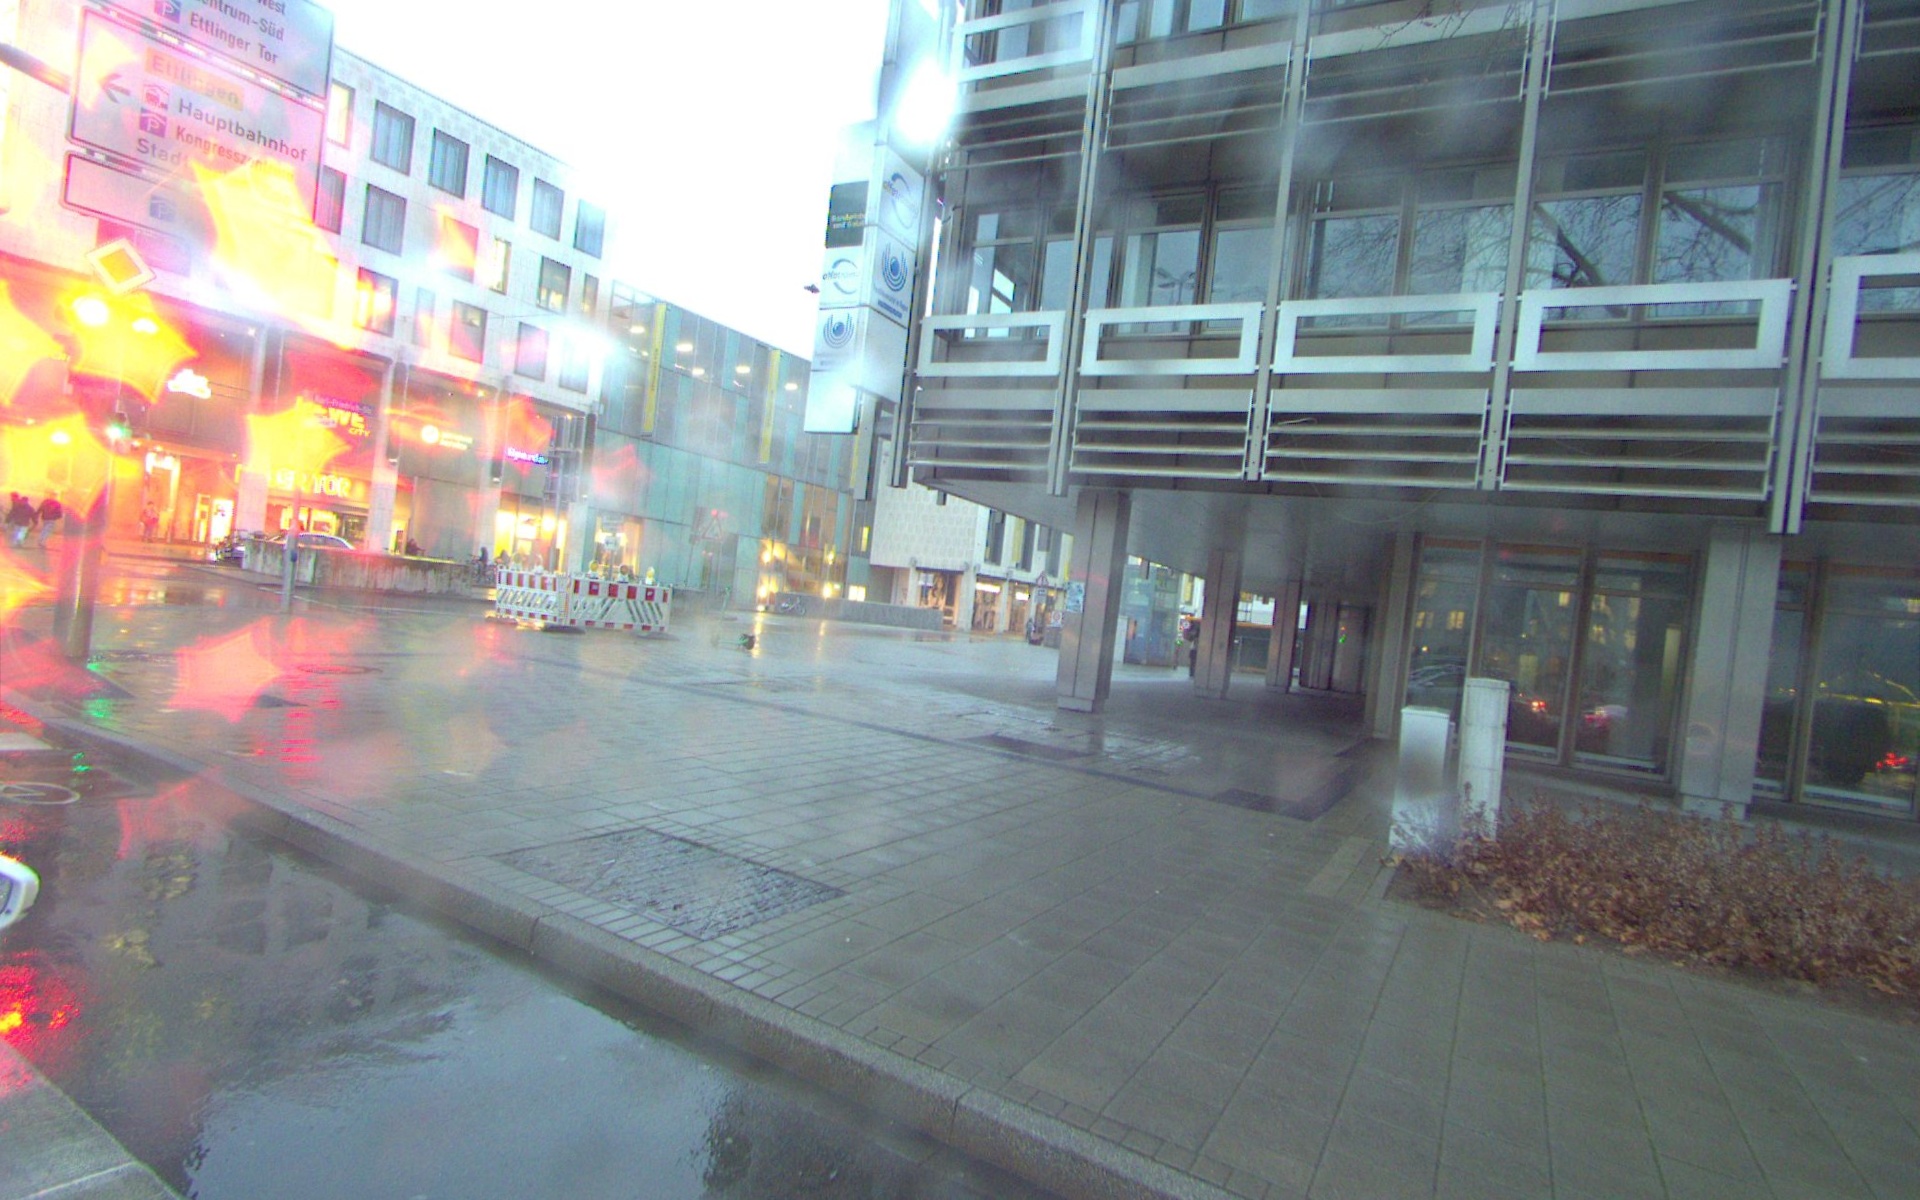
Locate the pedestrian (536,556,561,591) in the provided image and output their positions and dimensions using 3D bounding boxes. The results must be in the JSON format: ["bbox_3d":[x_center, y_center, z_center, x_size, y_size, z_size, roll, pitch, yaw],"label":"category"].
[{"bbox_3d":[-21.111,-1.361,51.638,0.770,1.703,0.742,6,-1,38],"label":"pedestrian"}]

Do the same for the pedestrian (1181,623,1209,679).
[{"bbox_3d":[7.974,1.728,34.106,0.678,1.796,0.660,7,-1,16],"label":"pedestrian"}]

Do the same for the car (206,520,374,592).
[{"bbox_3d":[-21.651,-1.388,32.652,1.967,1.636,3.994,6,-2,33],"label":"car"}]

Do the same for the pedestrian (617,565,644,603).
[{"bbox_3d":[-15.755,-0.759,48.067,0.770,1.703,0.742,6,-1,38],"label":"pedestrian"}]

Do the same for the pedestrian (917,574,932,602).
[{"bbox_3d":[-2.265,-0.783,64.123,0.573,1.703,0.542,6,-1,38],"label":"pedestrian"}]

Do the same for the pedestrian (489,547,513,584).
[{"bbox_3d":[-23.478,-1.769,51.501,0.786,1.760,0.767,6,1,-43],"label":"pedestrian"}]

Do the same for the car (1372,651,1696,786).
[{"bbox_3d":[8.616,1.690,15.322,3.935,1.327,1.994,6,1,33],"label":"car"}]

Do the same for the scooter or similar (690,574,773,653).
[{"bbox_3d":[-4.596,0.267,20.187,1.470,1.368,0.593,7,-1,32],"label":"scooter or similar"}]

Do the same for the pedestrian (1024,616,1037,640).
[{"bbox_3d":[5.321,2.133,75.501,0.573,1.703,0.542,6,-1,38],"label":"pedestrian"}]

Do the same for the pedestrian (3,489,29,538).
[{"bbox_3d":[-34.441,-3.144,36.698,0.480,1.683,0.454,6,1,-28],"label":"pedestrian"}]

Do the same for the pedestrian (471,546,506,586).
[{"bbox_3d":[-22.418,-1.615,47.861,0.810,1.703,1.032,6,-1,31],"label":"pedestrian"}]

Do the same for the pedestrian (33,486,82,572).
[{"bbox_3d":[-27.338,-2.151,30.485,0.745,2.469,0.691,7,-1,31],"label":"pedestrian"}]

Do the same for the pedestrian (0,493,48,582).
[{"bbox_3d":[-27.485,-1.825,29.469,0.745,2.469,0.716,7,-1,31],"label":"pedestrian"}]

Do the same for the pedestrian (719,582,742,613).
[{"bbox_3d":[-13.241,-0.146,58.015,0.770,1.703,0.742,6,-1,38],"label":"pedestrian"}]

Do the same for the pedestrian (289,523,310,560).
[{"bbox_3d":[-33.266,-2.946,50.662,0.729,1.740,0.733,6,1,-31],"label":"pedestrian"}]

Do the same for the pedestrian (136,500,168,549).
[{"bbox_3d":[-35.604,-3.311,44.336,0.688,2.039,0.845,7,1,40],"label":"pedestrian"}]

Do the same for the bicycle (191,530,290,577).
[{"bbox_3d":[-26.337,-1.687,36.881,0.941,1.375,2.718,6,-1,28],"label":"bicycle"}]

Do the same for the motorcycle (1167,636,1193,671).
[{"bbox_3d":[9.676,2.354,44.179,0.584,1.368,1.493,7,-1,29],"label":"motorcycle"}]

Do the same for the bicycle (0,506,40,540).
[{"bbox_3d":[-36.455,-2.994,38.526,0.515,1.082,1.651,7,-2,28],"label":"bicycle"}]

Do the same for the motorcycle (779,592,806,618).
[{"bbox_3d":[-10.164,0.288,61.151,0.585,1.368,1.491,7,-1,36],"label":"motorcycle"}]

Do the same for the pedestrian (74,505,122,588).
[{"bbox_3d":[-26.804,-1.662,31.294,0.778,2.477,0.694,7,-1,32],"label":"pedestrian"}]

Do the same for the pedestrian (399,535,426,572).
[{"bbox_3d":[-26.527,-2.252,48.735,0.519,1.705,0.894,6,0,31],"label":"pedestrian"}]

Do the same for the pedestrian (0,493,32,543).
[{"bbox_3d":[-34.575,-2.991,36.824,0.564,1.730,0.637,7,1,31],"label":"pedestrian"}]
